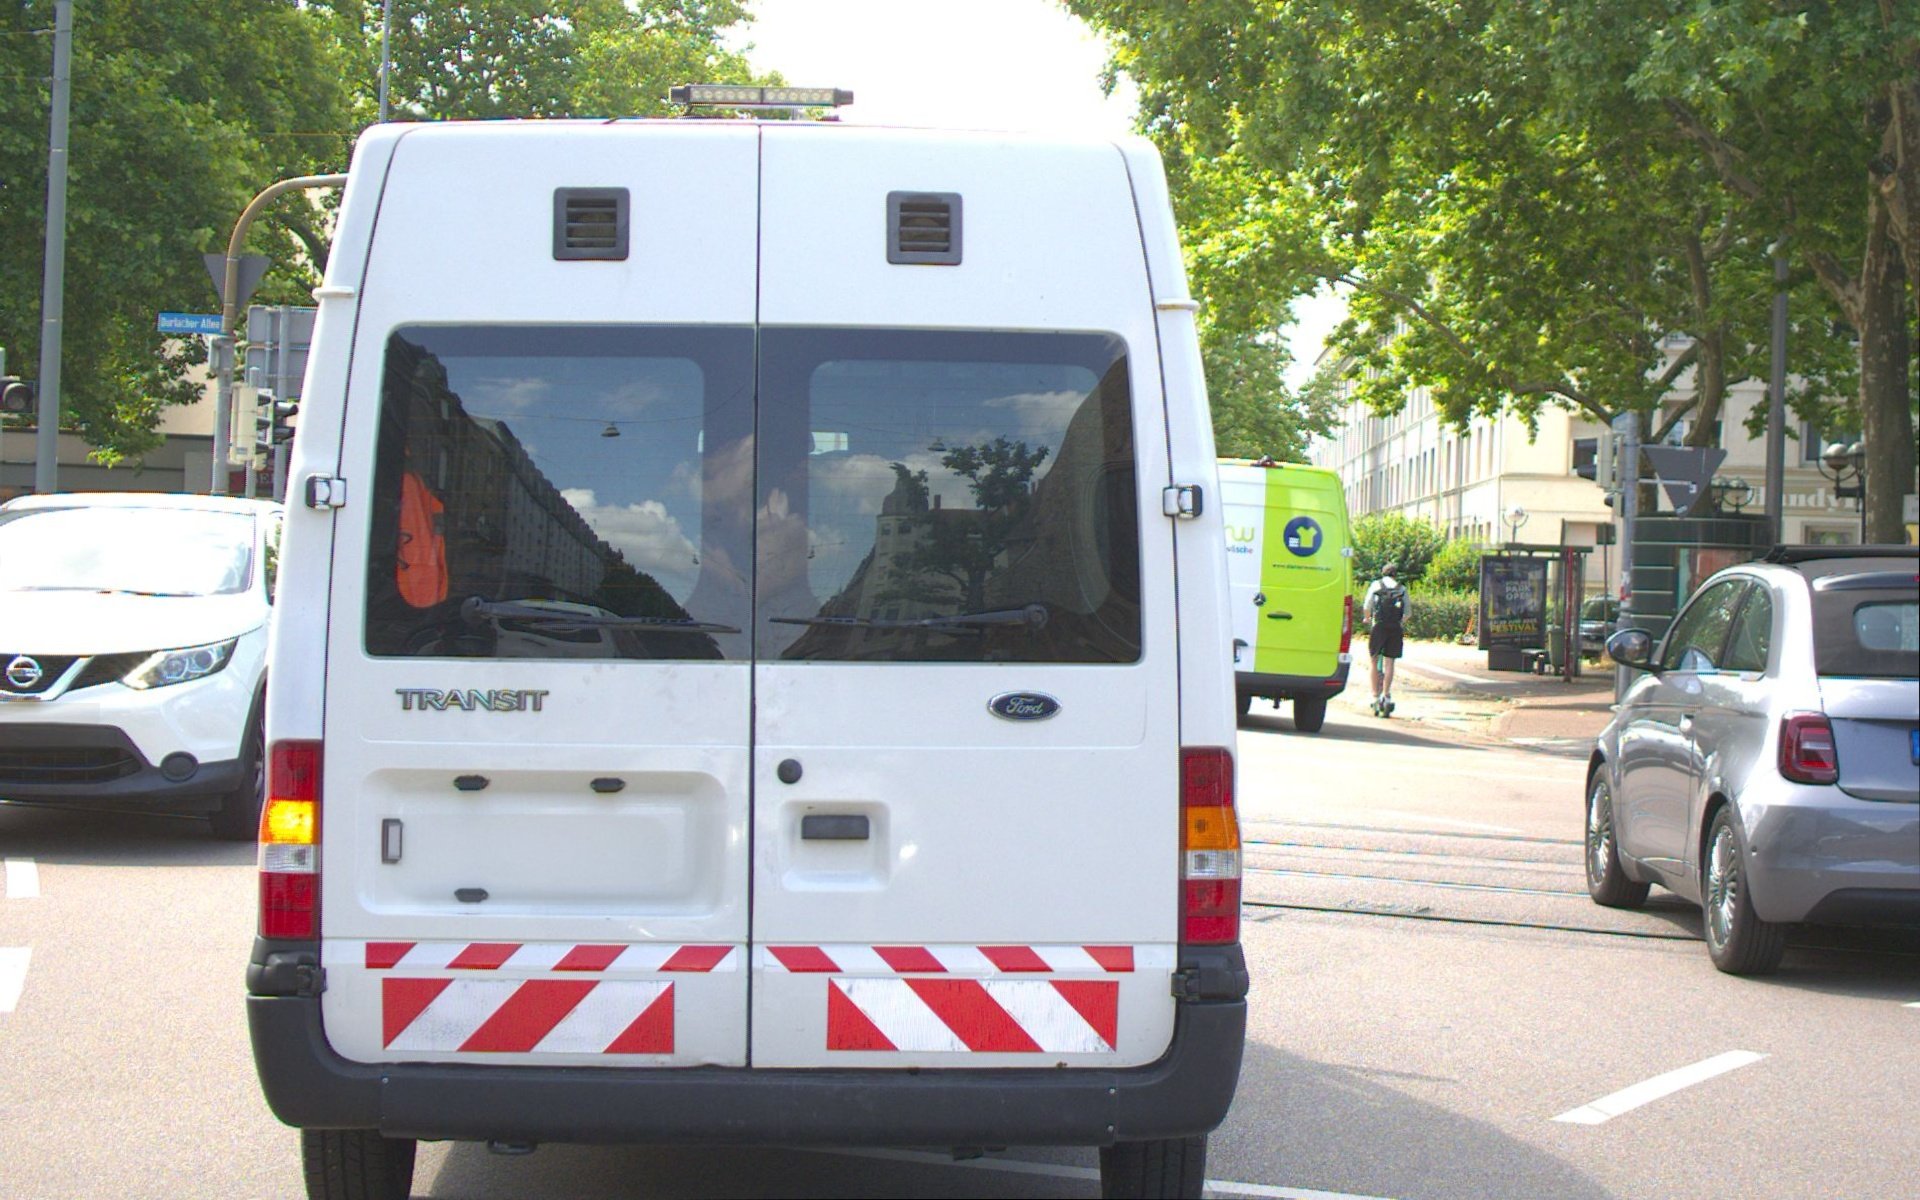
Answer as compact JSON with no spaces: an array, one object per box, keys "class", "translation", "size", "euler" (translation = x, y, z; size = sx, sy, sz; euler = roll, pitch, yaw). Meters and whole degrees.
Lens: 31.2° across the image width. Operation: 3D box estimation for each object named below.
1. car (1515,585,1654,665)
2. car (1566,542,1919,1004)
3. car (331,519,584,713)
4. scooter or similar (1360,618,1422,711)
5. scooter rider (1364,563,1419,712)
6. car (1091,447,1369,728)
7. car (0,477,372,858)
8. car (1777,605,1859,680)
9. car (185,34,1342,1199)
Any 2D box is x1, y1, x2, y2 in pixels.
[{"class":"car","translation":[13.465,0.534,73.941],"size":[2.030,1.595,4.533],"euler":[2,0,22]},{"class":"car","translation":[3.505,0.577,13.360],"size":[1.692,1.532,3.468],"euler":[2,1,1]},{"class":"car","translation":[-4.207,0.099,29.286],"size":[1.747,1.535,3.932],"euler":[0,1,-3]},{"class":"scooter or similar","translation":[5.337,0.795,42.607],"size":[0.549,1.088,1.292],"euler":[2,1,-1]},{"class":"scooter rider","translation":[5.351,0.459,42.695],"size":[0.526,1.806,0.649],"euler":[2,1,-1]},{"class":"car","translation":[2.729,-0.167,36.348],"size":[2.119,2.632,6.329],"euler":[2,1,-2]},{"class":"car","translation":[-4.047,0.224,16.610],"size":[1.770,1.577,4.021],"euler":[3,1,-2]},{"class":"car","translation":[16.989,0.835,68.038],"size":[1.466,1.384,3.065],"euler":[2,0,15]},{"class":"car","translation":[-0.474,0.117,8.658],"size":[2.047,2.325,4.715],"euler":[2,1,-3]}]
